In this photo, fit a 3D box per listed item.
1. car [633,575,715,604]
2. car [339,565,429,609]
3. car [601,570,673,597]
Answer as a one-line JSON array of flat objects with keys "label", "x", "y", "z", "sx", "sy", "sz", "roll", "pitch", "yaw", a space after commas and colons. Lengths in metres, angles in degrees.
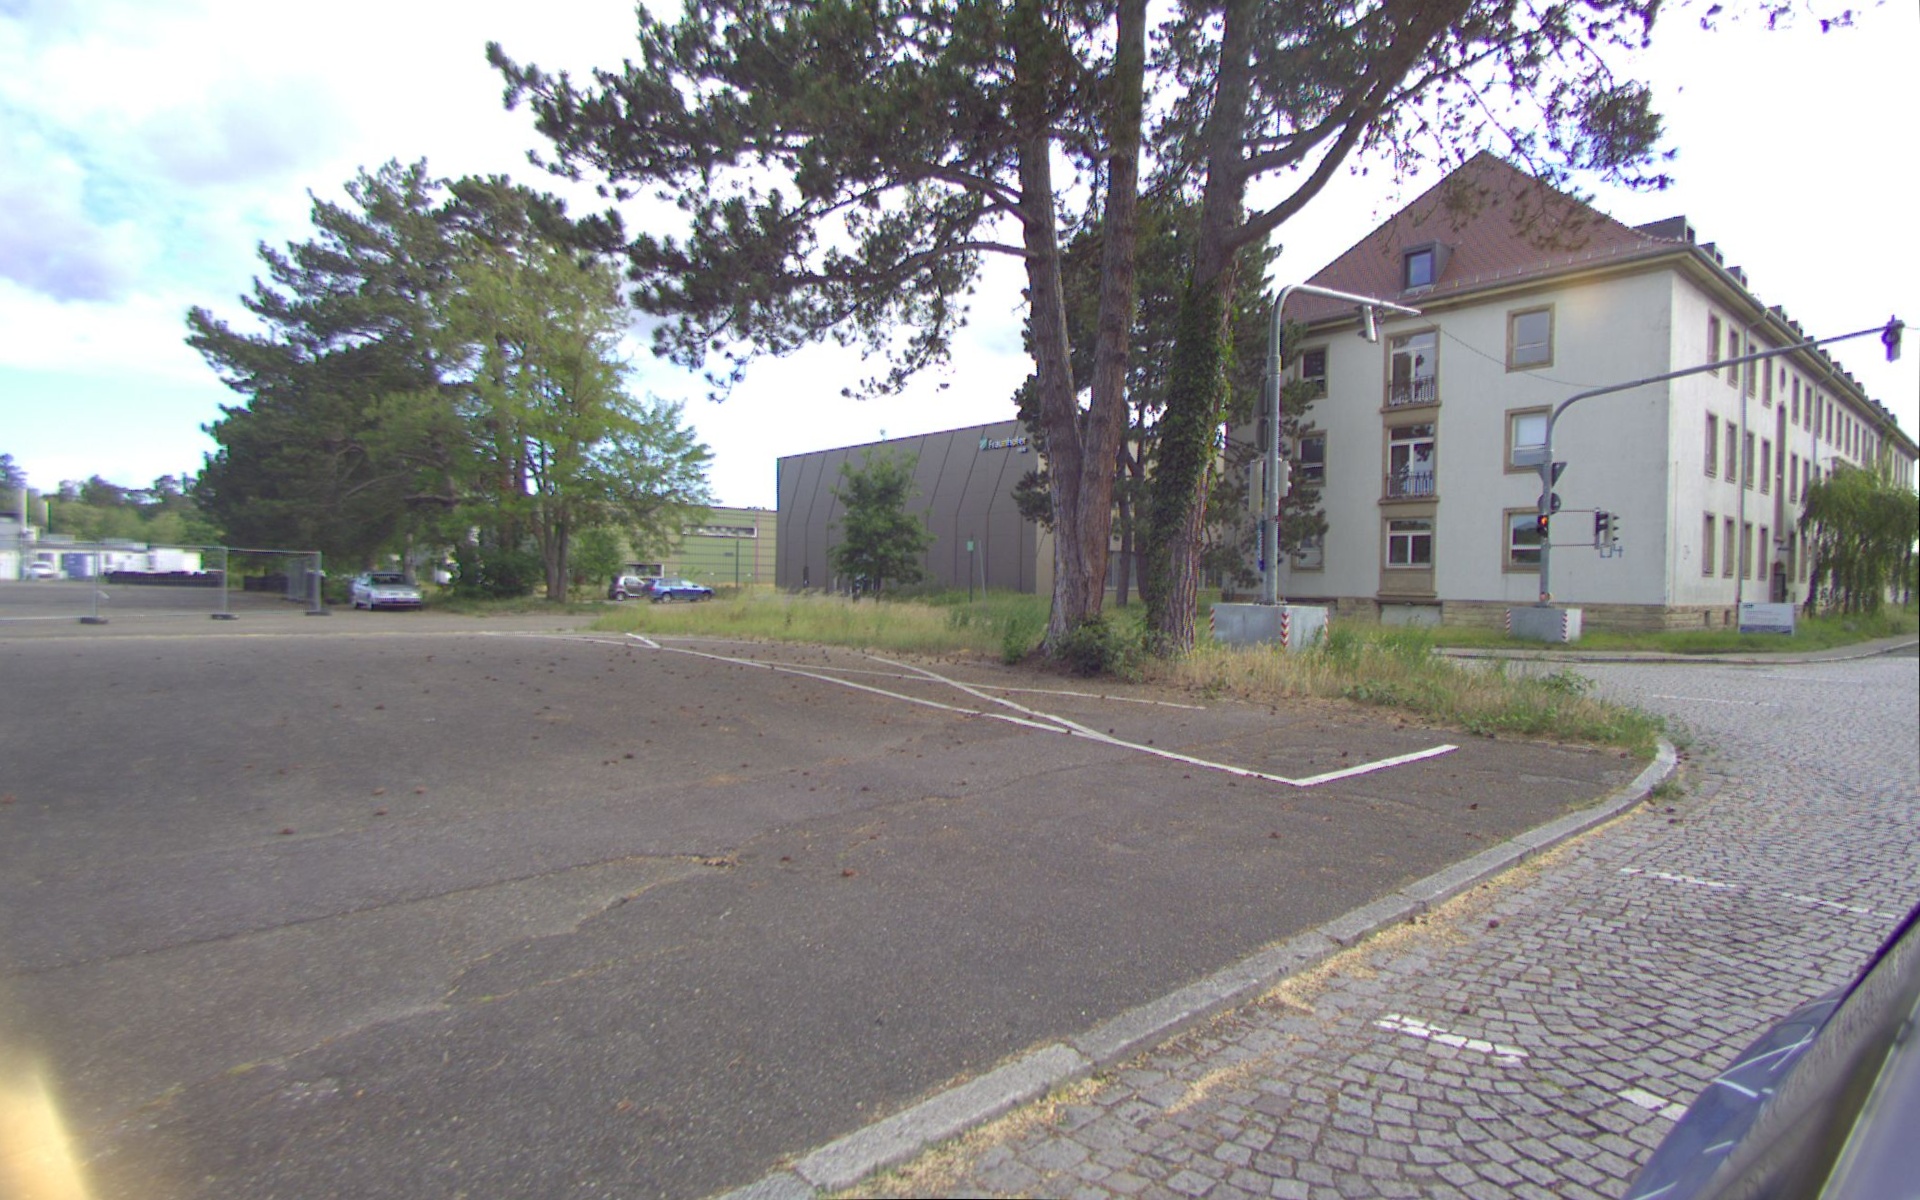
[{"label": "car", "x": -17.078, "y": -0.657, "z": 60.505, "sx": 4.346, "sy": 1.481, "sz": 1.834, "roll": -3, "pitch": 4, "yaw": -44}, {"label": "car", "x": -21.266, "y": -0.499, "z": 37.290, "sx": 1.834, "sy": 1.492, "sz": 4.140, "roll": 0, "pitch": 1, "yaw": -45}, {"label": "car", "x": -21.253, "y": -1.105, "z": 66.709, "sx": 4.127, "sy": 1.605, "sz": 1.834, "roll": -3, "pitch": 4, "yaw": -44}]
